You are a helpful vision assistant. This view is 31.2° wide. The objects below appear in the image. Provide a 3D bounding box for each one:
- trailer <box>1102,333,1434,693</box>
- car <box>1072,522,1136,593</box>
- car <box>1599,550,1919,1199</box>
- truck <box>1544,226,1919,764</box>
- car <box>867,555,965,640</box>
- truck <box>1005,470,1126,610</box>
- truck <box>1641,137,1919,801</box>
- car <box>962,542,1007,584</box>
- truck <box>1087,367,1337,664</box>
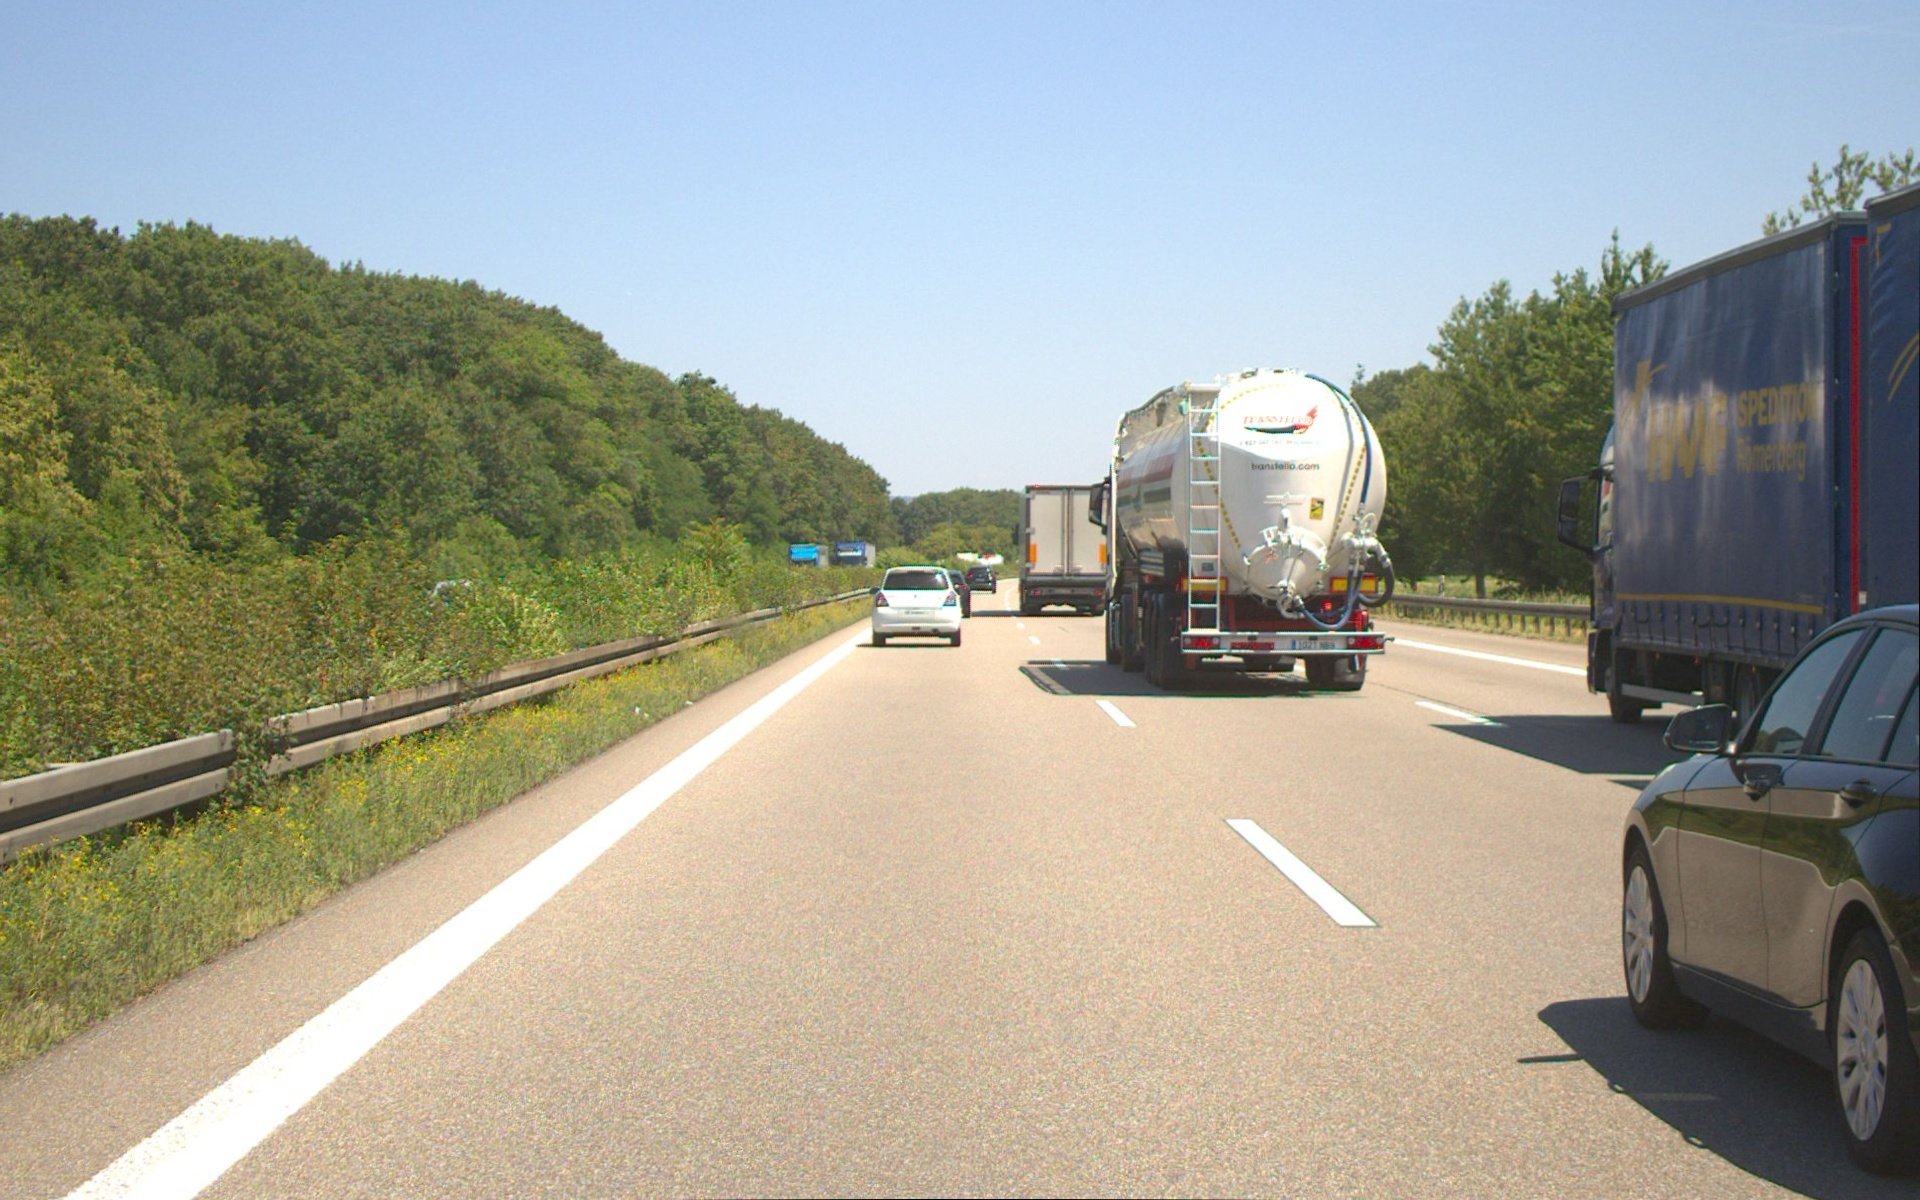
[{"bbox_3d":[3.760,-1.098,45.300,2.911,4.055,12.419,1,1,-1],"label":"trailer"},{"bbox_3d":[6.636,-1.992,158.862,2.669,3.179,5.567,1,1,0],"label":"car"},{"bbox_3d":[3.046,0.636,9.440,1.850,1.518,3.957,1,1,0],"label":"car"},{"bbox_3d":[7.459,-0.866,30.458,3.109,4.124,8.056,1,1,0],"label":"truck"},{"bbox_3d":[-0.871,-0.065,66.027,1.799,1.546,3.610,1,1,-2],"label":"car"},{"bbox_3d":[3.284,-1.923,110.200,3.394,4.199,12.084,1,1,0],"label":"truck"},{"bbox_3d":[7.508,-0.814,21.934,3.109,4.124,15.512,1,1,0],"label":"truck"},{"bbox_3d":[1.400,-2.152,198.396,2.475,2.346,5.182,1,1,0],"label":"car"},{"bbox_3d":[3.620,-1.228,51.142,2.911,4.065,7.196,1,1,-2],"label":"truck"}]
